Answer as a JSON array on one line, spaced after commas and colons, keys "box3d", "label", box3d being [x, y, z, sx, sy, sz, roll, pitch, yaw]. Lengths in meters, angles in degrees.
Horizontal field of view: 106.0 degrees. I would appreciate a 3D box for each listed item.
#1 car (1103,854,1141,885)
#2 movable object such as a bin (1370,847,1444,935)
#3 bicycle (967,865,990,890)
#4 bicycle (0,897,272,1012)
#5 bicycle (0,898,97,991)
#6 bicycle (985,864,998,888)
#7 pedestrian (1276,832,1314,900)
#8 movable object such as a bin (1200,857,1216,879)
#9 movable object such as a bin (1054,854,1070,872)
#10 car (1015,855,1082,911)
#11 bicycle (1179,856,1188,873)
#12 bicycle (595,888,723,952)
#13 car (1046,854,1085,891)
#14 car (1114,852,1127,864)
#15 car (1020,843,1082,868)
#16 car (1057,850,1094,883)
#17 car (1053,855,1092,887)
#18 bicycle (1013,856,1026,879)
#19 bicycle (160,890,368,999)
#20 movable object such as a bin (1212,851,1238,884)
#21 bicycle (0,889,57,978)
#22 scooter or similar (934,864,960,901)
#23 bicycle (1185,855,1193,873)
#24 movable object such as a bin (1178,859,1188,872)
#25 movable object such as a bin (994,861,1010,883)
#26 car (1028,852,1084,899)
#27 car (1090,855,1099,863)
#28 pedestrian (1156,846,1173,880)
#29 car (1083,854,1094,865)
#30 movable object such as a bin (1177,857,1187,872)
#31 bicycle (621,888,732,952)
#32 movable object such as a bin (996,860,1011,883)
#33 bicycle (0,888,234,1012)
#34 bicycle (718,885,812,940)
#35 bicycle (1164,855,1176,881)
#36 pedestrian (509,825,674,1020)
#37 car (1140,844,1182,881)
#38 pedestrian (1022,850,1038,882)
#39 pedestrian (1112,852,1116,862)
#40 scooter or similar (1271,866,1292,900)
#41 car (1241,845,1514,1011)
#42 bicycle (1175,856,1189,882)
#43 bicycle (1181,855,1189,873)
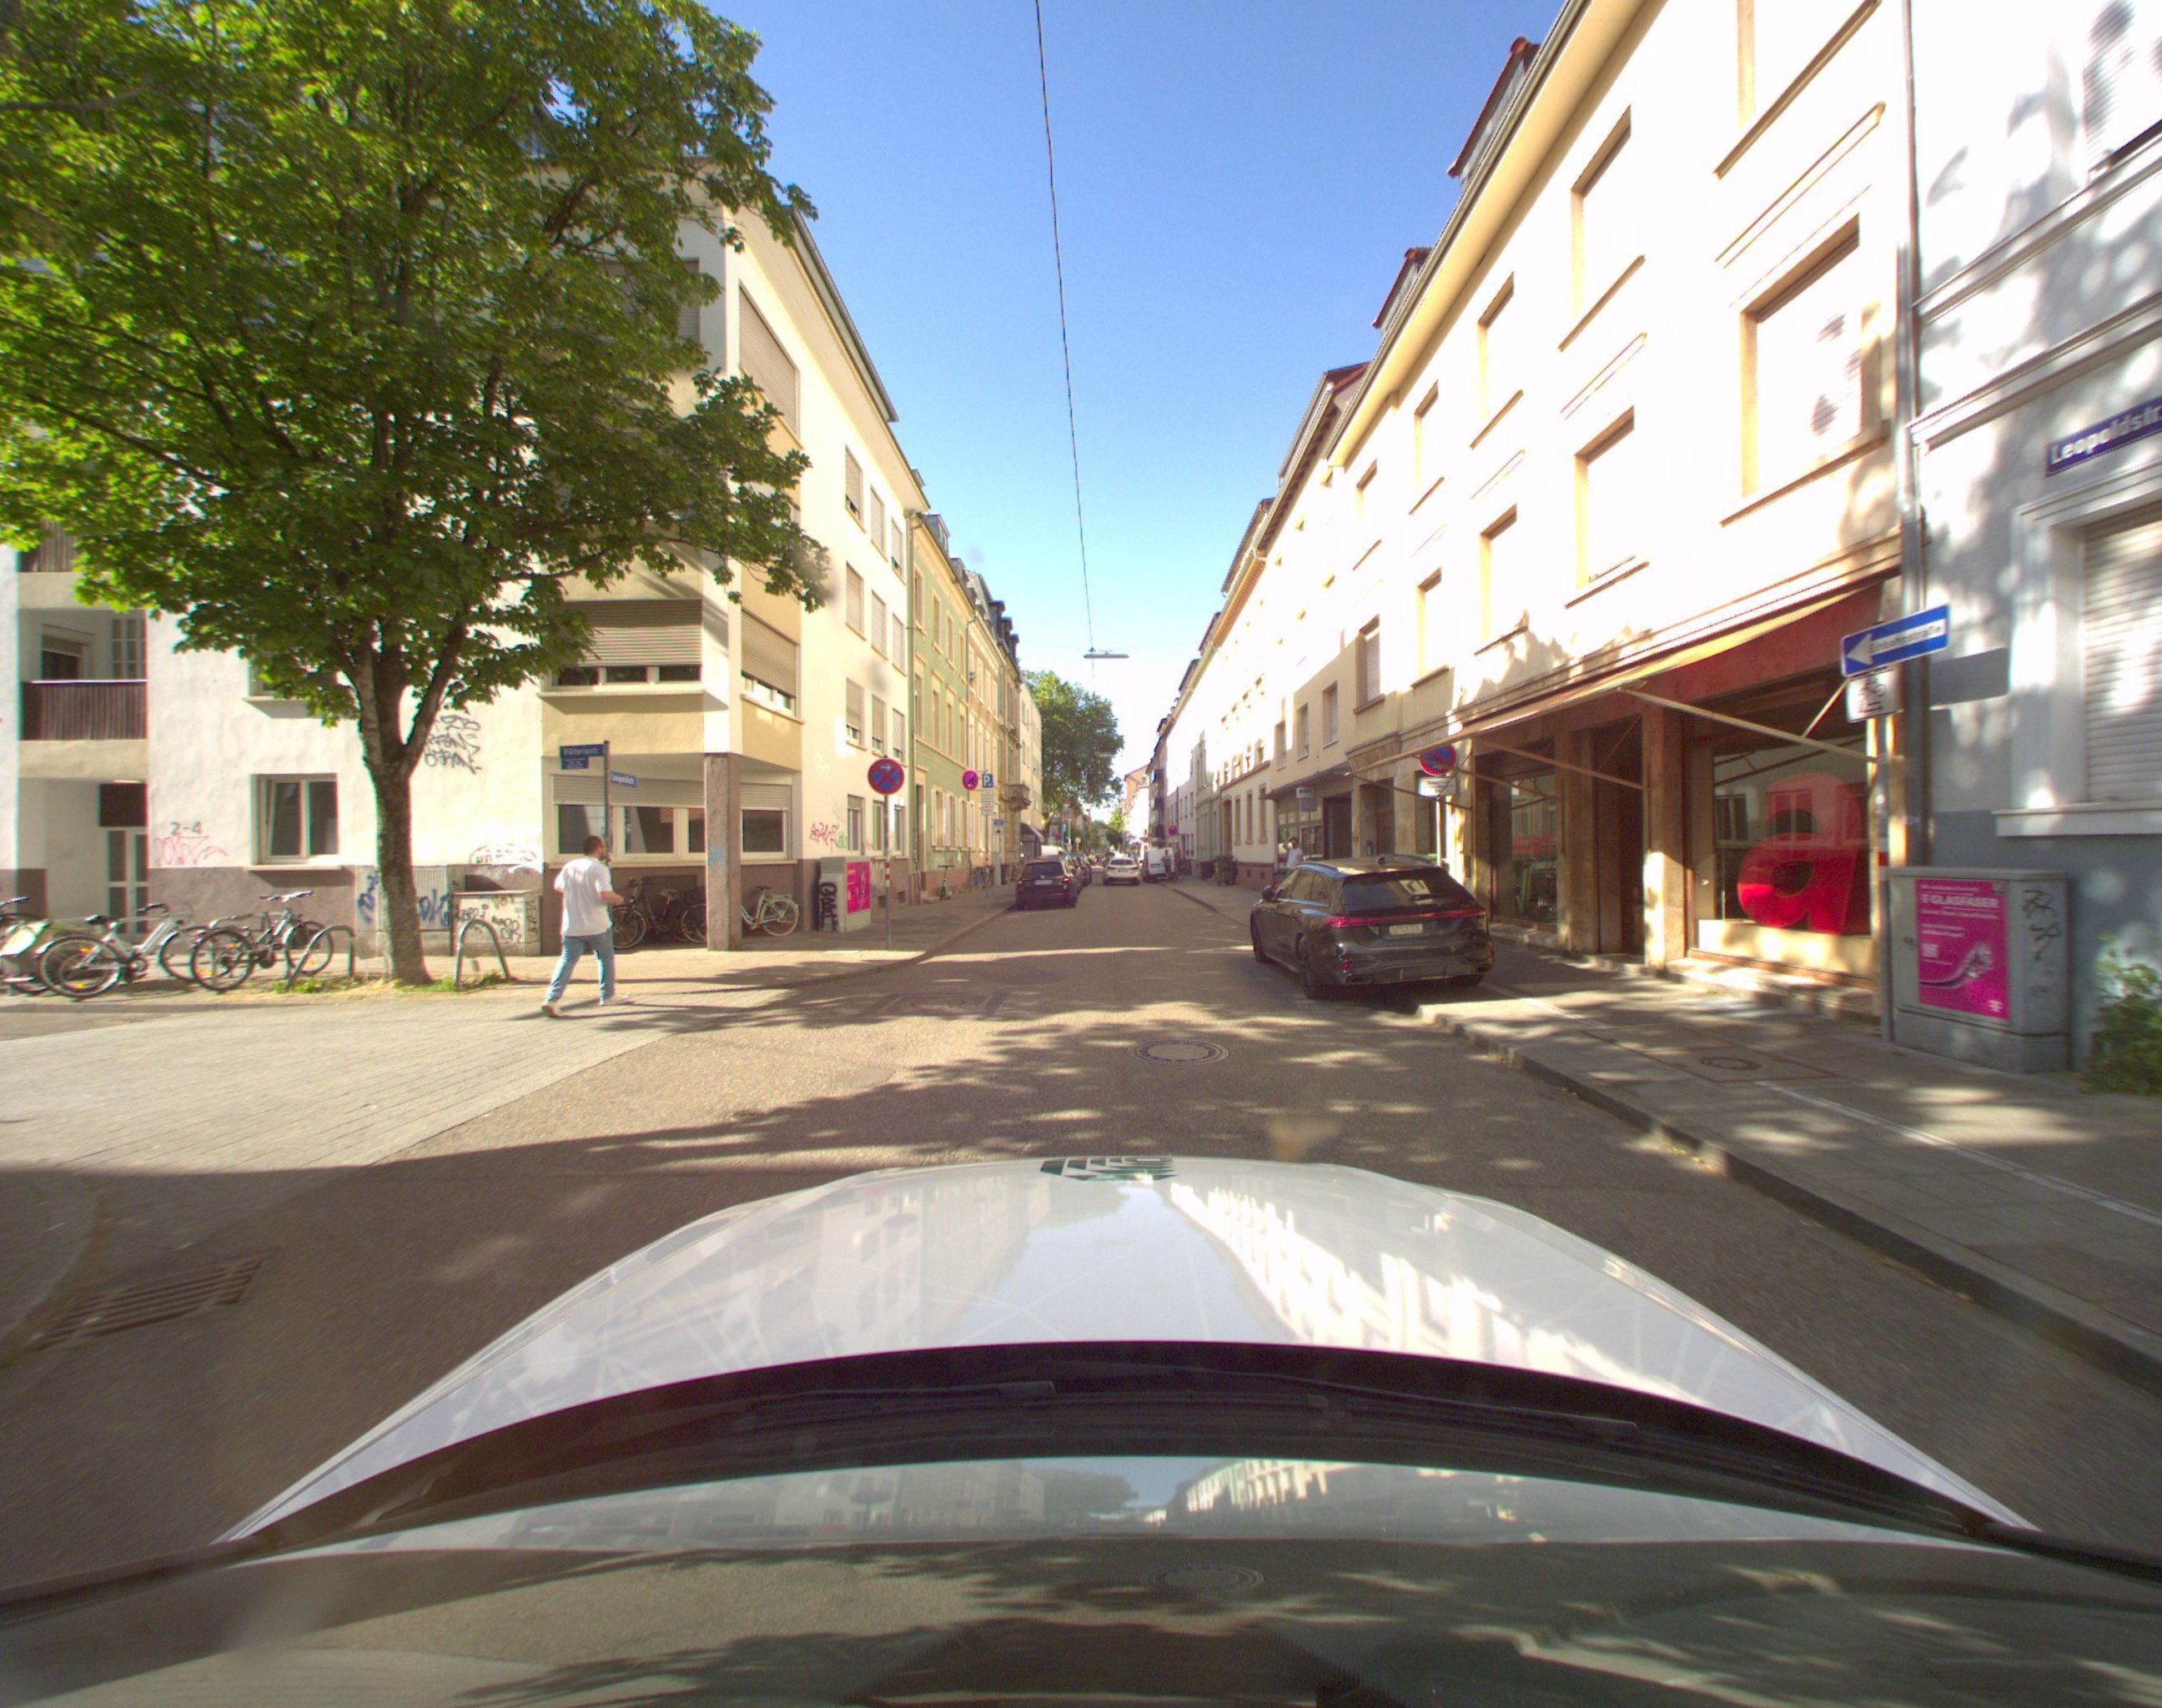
[{"box3d": [2.116, 0.774, 42.685, 1.817, 1.514, 3.824, -1, 0, 1], "label": "car"}, {"box3d": [5.737, 0.629, 14.406, 0.743, 1.436, 1.373, -4, 0, 3], "label": "movable object such as a bin"}, {"box3d": [-4.283, 0.977, 34.196, 0.358, 1.028, 1.923, -1, -1, 11], "label": "bicycle"}, {"box3d": [-11.331, 1.154, 9.915, 0.637, 1.029, 2.185, -1, 3, 4], "label": "bicycle"}, {"box3d": [-13.903, 1.190, 10.178, 0.676, 1.066, 1.998, -1, 3, 1], "label": "bicycle"}, {"box3d": [-4.119, 0.993, 37.544, 0.401, 1.056, 1.835, -1, -1, -1], "label": "bicycle"}, {"box3d": [6.064, 0.340, 23.063, 0.650, 1.860, 0.744, -3, 0, -20], "label": "pedestrian"}, {"box3d": [6.677, 0.734, 42.809, 0.793, 1.096, 0.642, -1, -1, 3], "label": "movable object such as a bin"}, {"box3d": [-1.628, 0.779, 68.866, 1.292, 1.498, 1.179, 0, -1, 1], "label": "movable object such as a bin"}, {"box3d": [-0.915, 0.827, 25.465, 1.708, 1.488, 4.853, -3, 0, 1], "label": "car"}, {"box3d": [7.121, 0.702, 56.733, 0.565, 1.153, 1.871, -1, -1, 6], "label": "bicycle"}, {"box3d": [-7.066, 1.078, 13.714, 0.378, 0.913, 1.875, -2, 0, 42], "label": "bicycle"}, {"box3d": [-0.638, 0.789, 37.121, 1.610, 1.554, 3.978, -1, 0, 1], "label": "car"}, {"box3d": [6.364, 0.614, 131.371, 1.937, 1.948, 4.076, 0, 0, -1], "label": "car"}, {"box3d": [-3.338, 0.196, 91.568, 6.711, 2.555, 2.147, 2, -1, 3], "label": "car"}, {"box3d": [-0.254, 0.689, 47.406, 1.929, 1.736, 5.144, -2, 0, 2], "label": "car"}, {"box3d": [-0.384, 0.829, 41.886, 1.706, 1.531, 4.370, -2, 0, 3], "label": "car"}, {"box3d": [-3.578, 0.774, 47.488, 0.508, 1.277, 1.868, -1, -1, 3], "label": "bicycle"}, {"box3d": [-10.158, 1.074, 10.253, 0.480, 1.101, 2.063, -1, 1, 1], "label": "bicycle"}, {"box3d": [6.402, 0.602, 36.217, 0.834, 1.389, 1.297, -3, -2, 0], "label": "movable object such as a bin"}, {"box3d": [-14.999, 1.142, 10.330, 0.831, 1.146, 2.424, -1, 3, 1], "label": "bicycle"}, {"box3d": [-4.453, 0.934, 27.202, 0.452, 1.181, 1.693, -1, -1, 5], "label": "scooter or similar"}, {"box3d": [7.177, 0.661, 54.306, 0.403, 1.206, 2.162, -1, -1, 5], "label": "bicycle"}, {"box3d": [7.264, 0.816, 57.998, 0.575, 0.924, 0.608, -3, -1, 2], "label": "movable object such as a bin"}, {"box3d": [-3.947, 0.908, 40.873, 0.733, 1.089, 0.682, -1, 1, -2], "label": "movable object such as a bin"}, {"box3d": [-0.870, 0.754, 31.328, 1.737, 1.615, 4.606, -2, 0, 2], "label": "car"}, {"box3d": [2.613, 1.032, 160.461, 1.566, 1.585, 3.613, -1, -1, 2], "label": "car"}, {"box3d": [4.636, 0.482, 45.207, 0.863, 1.836, 0.883, -1, -1, 0], "label": "pedestrian"}, {"box3d": [1.214, 0.844, 128.252, 1.763, 1.589, 3.727, -1, 1, 1], "label": "car"}, {"box3d": [7.257, 0.749, 58.608, 0.614, 1.062, 0.603, -3, 0, 1], "label": "movable object such as a bin"}, {"box3d": [-6.689, 1.069, 13.522, 0.399, 0.897, 1.595, -2, 0, 42], "label": "bicycle"}, {"box3d": [-3.945, 0.884, 41.494, 0.717, 1.132, 0.584, -1, -1, -2], "label": "movable object such as a bin"}, {"box3d": [-11.994, 1.100, 10.016, 0.500, 1.185, 2.440, -2, 2, 1], "label": "bicycle"}, {"box3d": [-5.735, 1.046, 14.842, 0.426, 0.882, 1.579, 1, 1, 41], "label": "bicycle"}, {"box3d": [4.655, 0.728, 42.673, 0.572, 1.320, 2.202, -2, 0, 5], "label": "bicycle"}, {"box3d": [-4.965, 0.660, 8.364, 0.907, 1.833, 1.246, -1, -1, 1], "label": "pedestrian"}, {"box3d": [4.704, 0.474, 48.639, 1.976, 1.883, 5.601, -5, 0, 1], "label": "car"}, {"box3d": [-2.755, 0.648, 44.118, 0.762, 1.714, 0.883, 0, 0, 1], "label": "pedestrian"}, {"box3d": [6.556, 0.584, 161.375, 0.768, 2.118, 0.835, -1, -1, 2], "label": "pedestrian"}, {"box3d": [5.912, 0.840, 24.029, 0.487, 0.944, 0.870, -2, 1, 8], "label": "scooter or similar"}, {"box3d": [3.316, 0.713, 10.241, 1.794, 1.579, 4.899, 0, 0, 2], "label": "car"}, {"box3d": [5.320, 0.767, 42.982, 0.572, 1.271, 2.202, -3, 0, 6], "label": "bicycle"}, {"box3d": [7.098, 0.680, 55.644, 0.435, 1.206, 2.271, -1, -1, 9], "label": "bicycle"}]
